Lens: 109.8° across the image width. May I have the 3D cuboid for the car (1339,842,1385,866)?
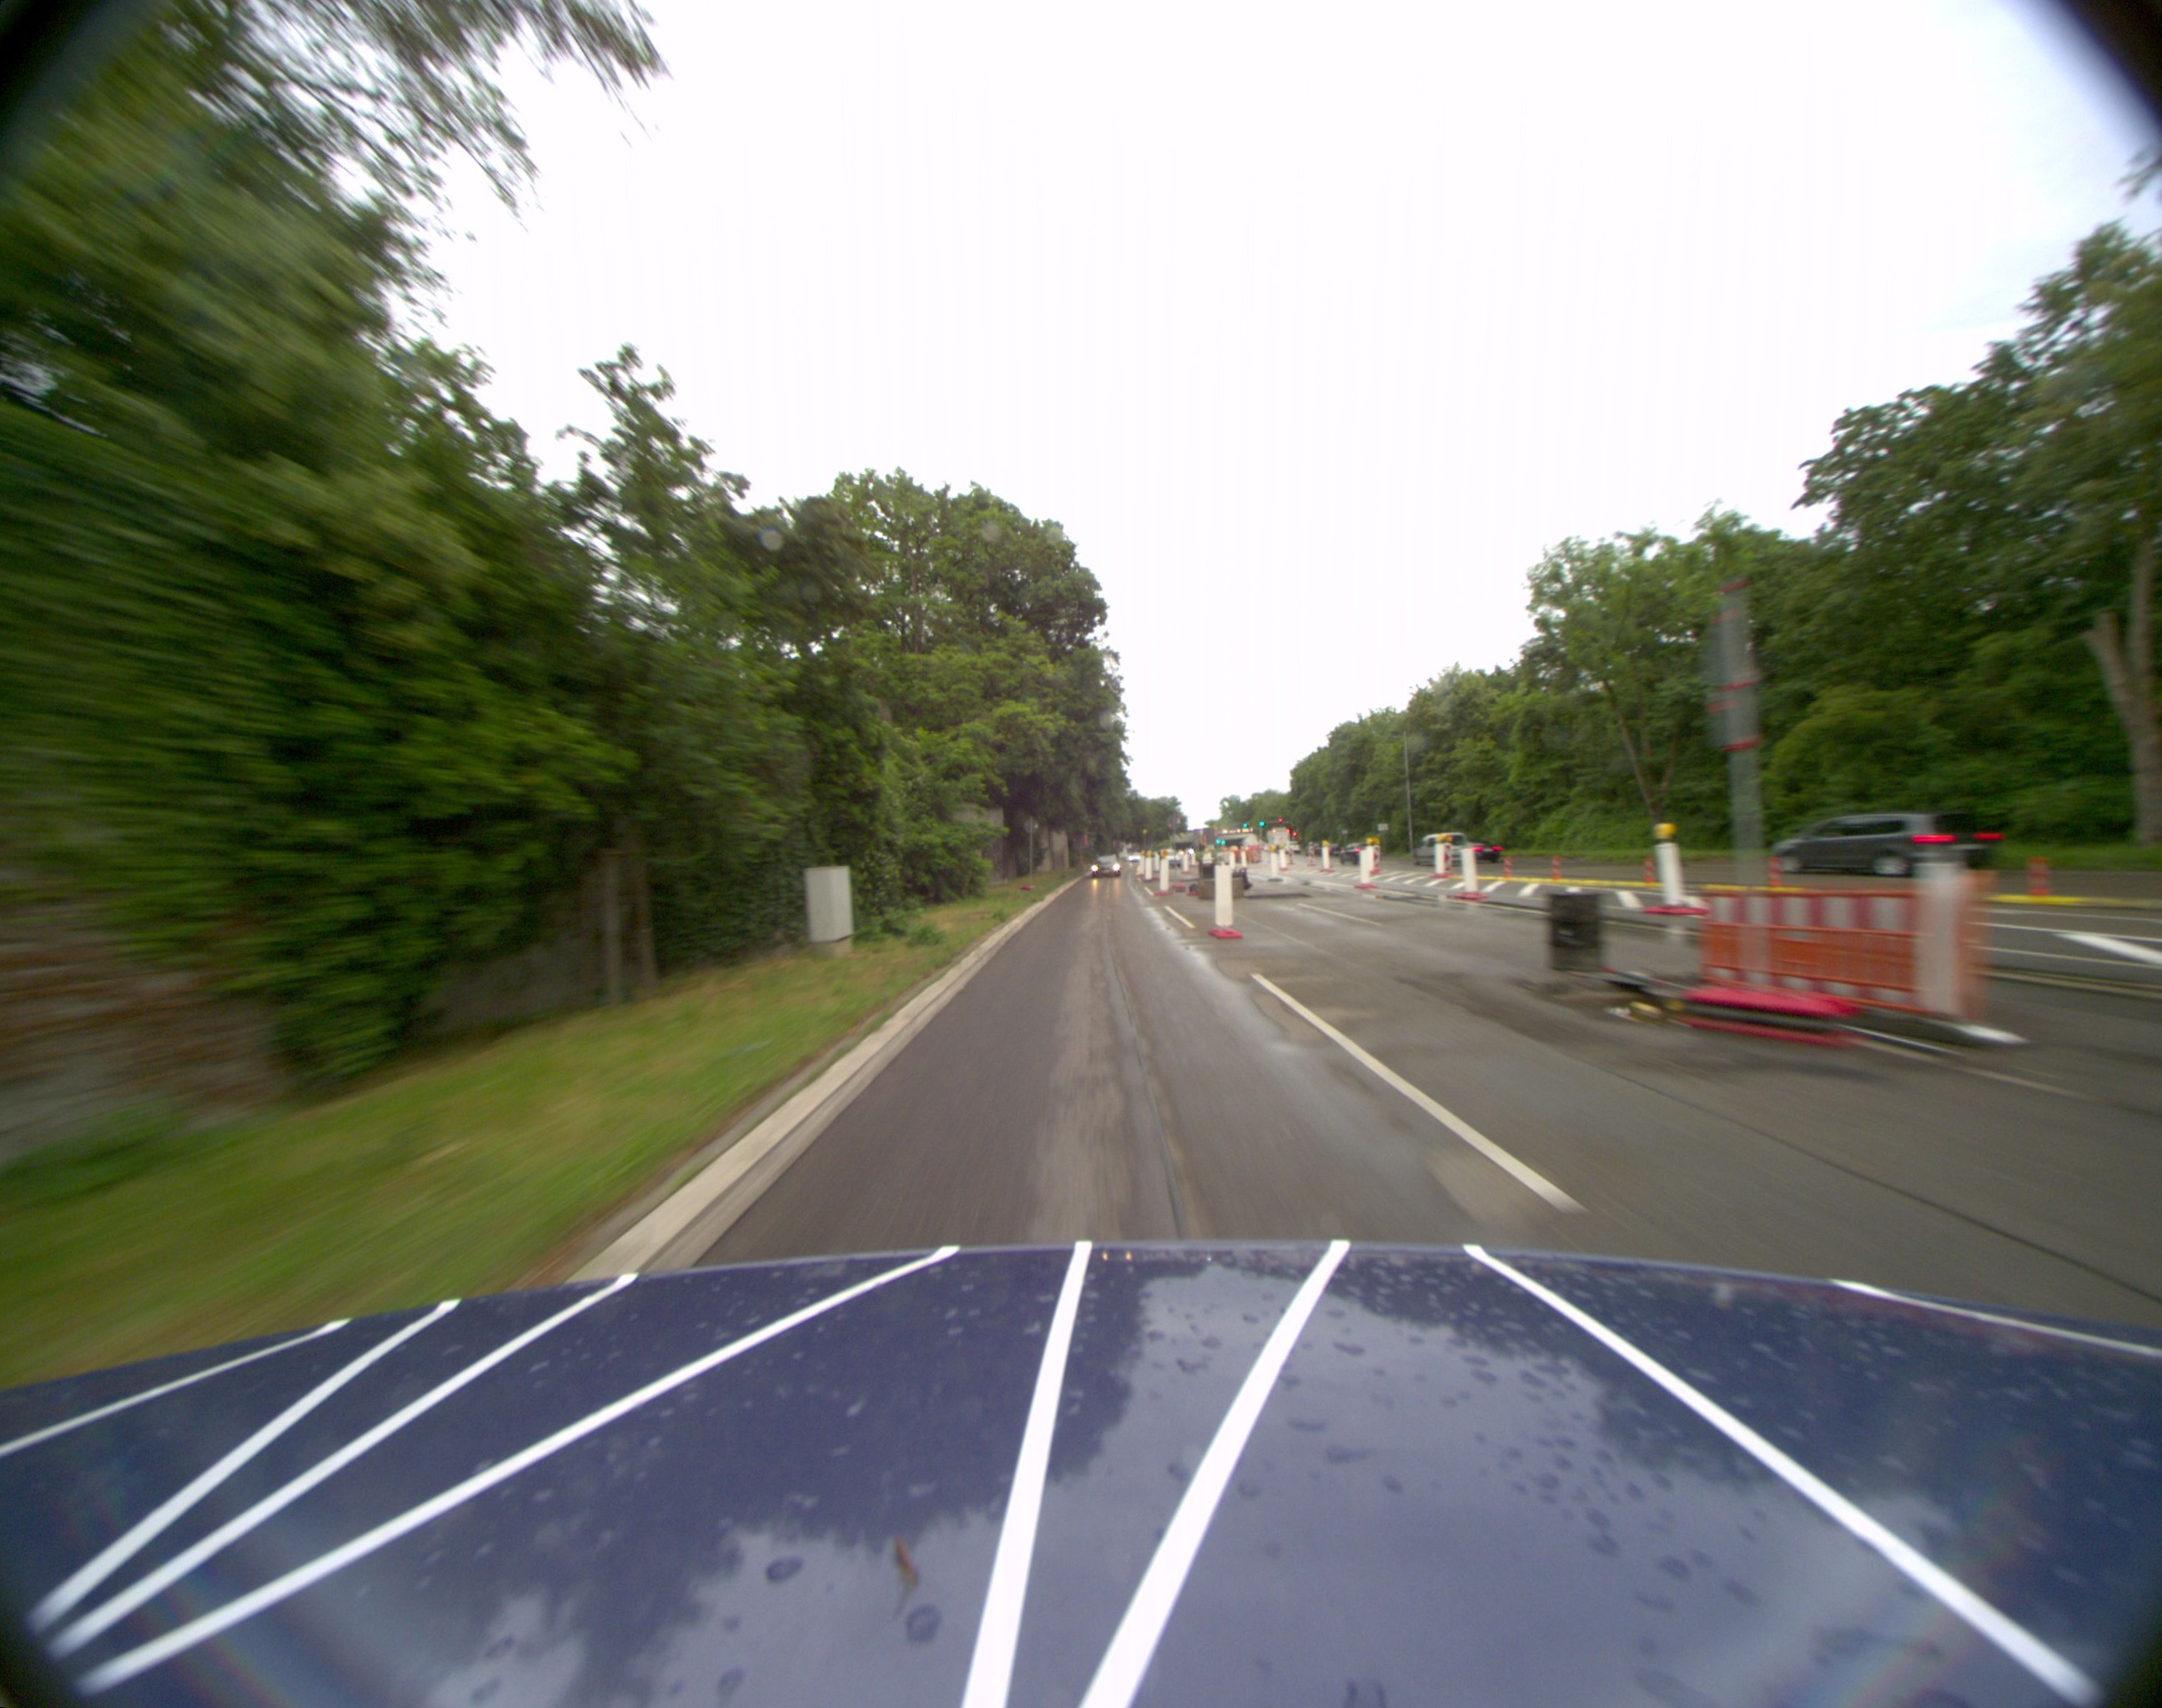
[{"bbox_3d":[18.614,-0.014,50.499,1.743,1.487,3.769,-2,0,2],"label":"car"}]

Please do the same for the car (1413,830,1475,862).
[{"bbox_3d":[19.602,-0.432,41.186,1.678,1.604,3.770,-2,0,3],"label":"car"}]

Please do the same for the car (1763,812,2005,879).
[{"bbox_3d":[21.648,-0.214,20.845,1.679,1.604,4.767,-2,0,2],"label":"car"}]

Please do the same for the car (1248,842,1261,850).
[{"bbox_3d":[32.444,-1.520,142.223,1.864,1.487,4.179,-1,0,7],"label":"car"}]

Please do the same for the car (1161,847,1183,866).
[{"bbox_3d":[8.076,0.201,67.881,1.793,1.575,3.862,-3,0,6],"label":"car"}]

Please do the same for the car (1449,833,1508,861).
[{"bbox_3d":[23.028,-0.398,44.175,1.624,1.475,3.608,-2,0,3],"label":"car"}]

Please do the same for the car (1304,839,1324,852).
[{"bbox_3d":[27.804,-0.960,90.608,1.678,1.487,3.771,-1,0,8],"label":"car"}]

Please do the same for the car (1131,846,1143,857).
[{"bbox_3d":[8.630,-0.418,116.723,1.707,1.681,4.473,-2,1,7],"label":"car"}]

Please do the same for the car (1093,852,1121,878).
[{"bbox_3d":[1.710,0.686,49.093,1.701,1.477,4.000,-2,1,3],"label":"car"}]

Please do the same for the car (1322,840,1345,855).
[{"bbox_3d":[26.923,-0.696,81.163,1.678,1.487,3.771,-1,0,8],"label":"car"}]

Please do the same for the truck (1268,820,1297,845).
[{"bbox_3d":[33.142,-3.518,125.236,3.149,3.809,9.649,-2,1,7],"label":"truck"}]

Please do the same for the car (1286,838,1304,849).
[{"bbox_3d":[31.015,-1.505,110.169,1.907,1.487,3.771,-1,0,8],"label":"car"}]
